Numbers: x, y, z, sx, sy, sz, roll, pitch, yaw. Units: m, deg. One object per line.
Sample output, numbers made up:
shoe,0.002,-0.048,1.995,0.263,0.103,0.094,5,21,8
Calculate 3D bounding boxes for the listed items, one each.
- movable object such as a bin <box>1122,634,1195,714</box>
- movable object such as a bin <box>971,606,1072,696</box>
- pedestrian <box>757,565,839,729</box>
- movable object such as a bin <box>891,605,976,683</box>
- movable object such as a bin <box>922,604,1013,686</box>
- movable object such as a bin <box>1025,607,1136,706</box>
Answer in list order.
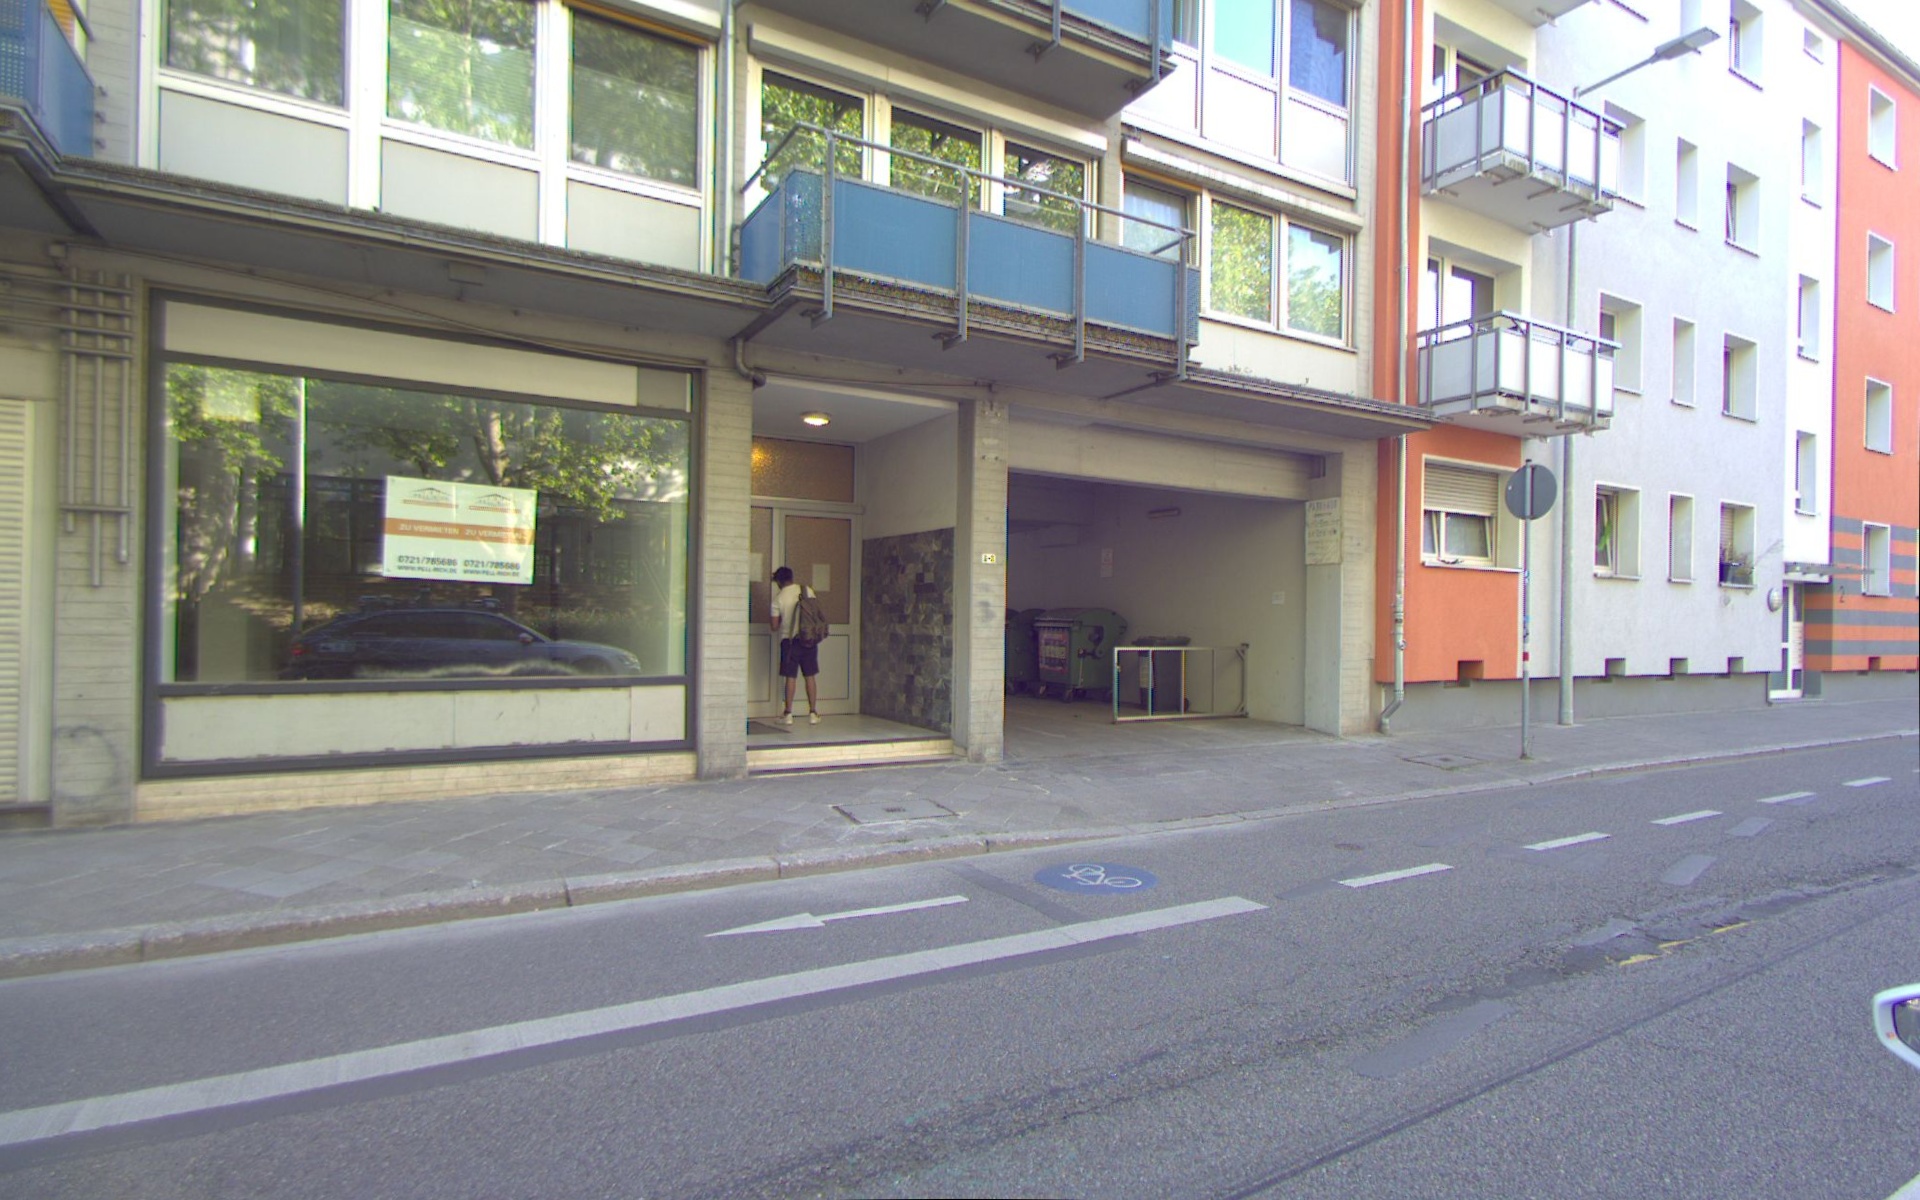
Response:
movable object such as a bin,2.859,1.058,14.523,0.707,1.089,0.735,2,0,-30
movable object such as a bin,1.041,0.845,17.193,1.182,1.452,1.300,2,0,-30
pedestrian,-1.686,0.469,10.383,0.558,1.606,0.919,1,0,-28
movable object such as a bin,-0.540,0.855,19.931,1.182,1.452,1.300,2,0,-30
movable object such as a bin,0.128,0.825,18.767,1.182,1.452,1.300,2,0,-30
movable object such as a bin,1.881,0.864,15.806,1.182,1.452,1.300,2,0,-30
